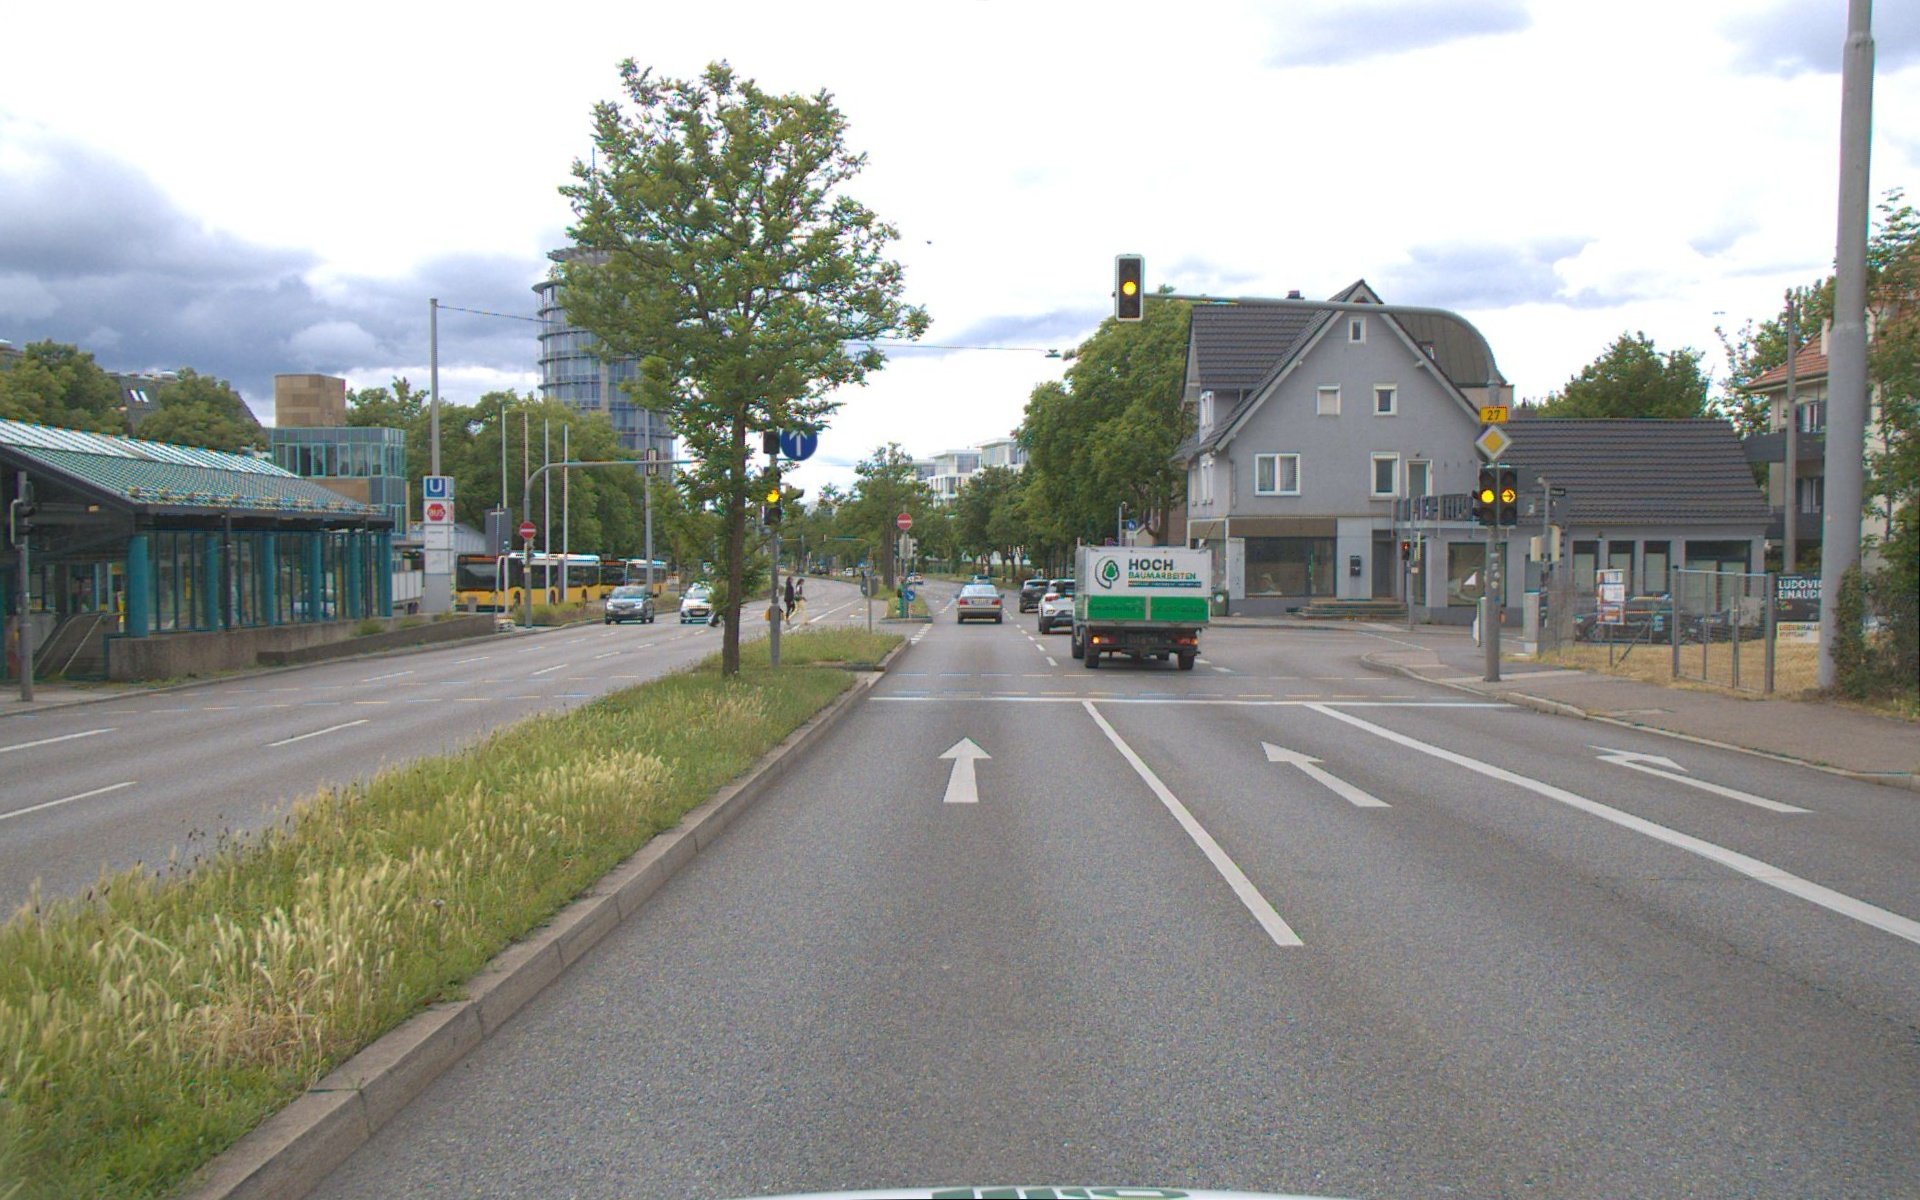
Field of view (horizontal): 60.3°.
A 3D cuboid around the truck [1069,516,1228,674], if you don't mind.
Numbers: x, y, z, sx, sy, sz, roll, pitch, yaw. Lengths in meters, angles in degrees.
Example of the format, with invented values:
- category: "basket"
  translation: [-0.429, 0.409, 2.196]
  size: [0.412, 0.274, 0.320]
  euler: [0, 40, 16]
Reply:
- category: "truck"
  translation: [3.417, -0.181, 31.394]
  size: [2.419, 2.656, 6.550]
  euler: [1, 2, 1]

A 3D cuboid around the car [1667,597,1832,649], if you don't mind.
- category: "car"
  translation: [23.269, 0.658, 48.841]
  size: [4.005, 1.395, 1.799]
  euler: [1, 0, 0]

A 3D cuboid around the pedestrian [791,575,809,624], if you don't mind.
- category: "pedestrian"
  translation: [-5.787, -0.007, 59.735]
  size: [0.640, 1.746, 0.451]
  euler: [-1, 0, -6]

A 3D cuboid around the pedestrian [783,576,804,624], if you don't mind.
- category: "pedestrian"
  translation: [-6.098, 0.005, 60.499]
  size: [0.731, 1.746, 0.582]
  euler: [-1, 0, -6]

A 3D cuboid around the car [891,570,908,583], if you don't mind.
- category: "car"
  translation: [-7.088, -2.731, 193.913]
  size: [1.954, 1.545, 3.998]
  euler: [-1, 1, -3]

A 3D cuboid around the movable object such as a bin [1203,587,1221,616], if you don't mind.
- category: "movable object such as a bin"
  translation: [9.390, 0.040, 61.697]
  size: [0.603, 1.061, 0.590]
  euler: [1, 0, 2]

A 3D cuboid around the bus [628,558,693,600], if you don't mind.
- category: "bus"
  translation: [-25.756, -1.779, 142.794]
  size: [2.772, 3.490, 10.740]
  euler: [-1, 0, 5]

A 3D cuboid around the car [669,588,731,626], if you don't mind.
- category: "car"
  translation: [-10.744, 0.259, 68.591]
  size: [1.953, 1.512, 4.000]
  euler: [-1, 0, 0]

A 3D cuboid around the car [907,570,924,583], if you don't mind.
- category: "car"
  translation: [-5.384, -2.910, 201.424]
  size: [1.954, 1.545, 3.998]
  euler: [-1, 1, -3]

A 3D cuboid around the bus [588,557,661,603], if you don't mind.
- category: "bus"
  translation: [-26.660, -1.589, 132.067]
  size: [2.772, 3.490, 10.740]
  euler: [-1, 0, 5]

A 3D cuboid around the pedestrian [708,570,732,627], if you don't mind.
- category: "pedestrian"
  translation: [-8.655, -0.051, 59.634]
  size: [0.814, 2.049, 0.545]
  euler: [-1, 0, -6]

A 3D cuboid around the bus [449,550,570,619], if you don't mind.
- category: "bus"
  translation: [-24.405, -0.855, 90.253]
  size: [2.772, 3.490, 10.740]
  euler: [-1, 0, 5]

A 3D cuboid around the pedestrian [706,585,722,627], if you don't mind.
- category: "pedestrian"
  translation: [-9.013, 0.223, 60.503]
  size: [0.532, 1.522, 0.486]
  euler: [-1, 0, -5]

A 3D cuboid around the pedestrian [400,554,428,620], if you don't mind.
- category: "pedestrian"
  translation: [-17.185, -0.402, 52.090]
  size: [0.668, 2.049, 0.645]
  euler: [-1, 0, -3]

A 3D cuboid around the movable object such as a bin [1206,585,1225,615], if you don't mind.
- category: "movable object such as a bin"
  translation: [9.406, 0.005, 60.875]
  size: [0.592, 1.078, 0.590]
  euler: [1, 0, 2]

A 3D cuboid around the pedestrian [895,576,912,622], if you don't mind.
- category: "pedestrian"
  translation: [-2.139, -0.031, 62.831]
  size: [0.572, 1.746, 0.545]
  euler: [-1, 0, -6]

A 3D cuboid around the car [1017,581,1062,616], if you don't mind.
- category: "car"
  translation: [3.632, -0.090, 76.112]
  size: [1.952, 1.579, 4.000]
  euler: [1, 1, 1]

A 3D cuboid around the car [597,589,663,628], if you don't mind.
- category: "car"
  translation: [-13.711, 0.330, 68.855]
  size: [1.953, 1.512, 4.000]
  euler: [-1, 0, 0]

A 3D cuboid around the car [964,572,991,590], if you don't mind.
- category: "car"
  translation: [1.670, -1.795, 156.997]
  size: [1.956, 1.579, 3.993]
  euler: [-1, 1, -8]

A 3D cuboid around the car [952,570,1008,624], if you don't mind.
- category: "car"
  translation: [0.735, -0.152, 59.995]
  size: [1.952, 1.862, 4.001]
  euler: [0, 1, 1]

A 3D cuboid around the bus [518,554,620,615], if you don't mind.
- category: "bus"
  translation: [-23.544, -0.933, 100.321]
  size: [2.772, 3.490, 10.740]
  euler: [-1, 0, 5]
